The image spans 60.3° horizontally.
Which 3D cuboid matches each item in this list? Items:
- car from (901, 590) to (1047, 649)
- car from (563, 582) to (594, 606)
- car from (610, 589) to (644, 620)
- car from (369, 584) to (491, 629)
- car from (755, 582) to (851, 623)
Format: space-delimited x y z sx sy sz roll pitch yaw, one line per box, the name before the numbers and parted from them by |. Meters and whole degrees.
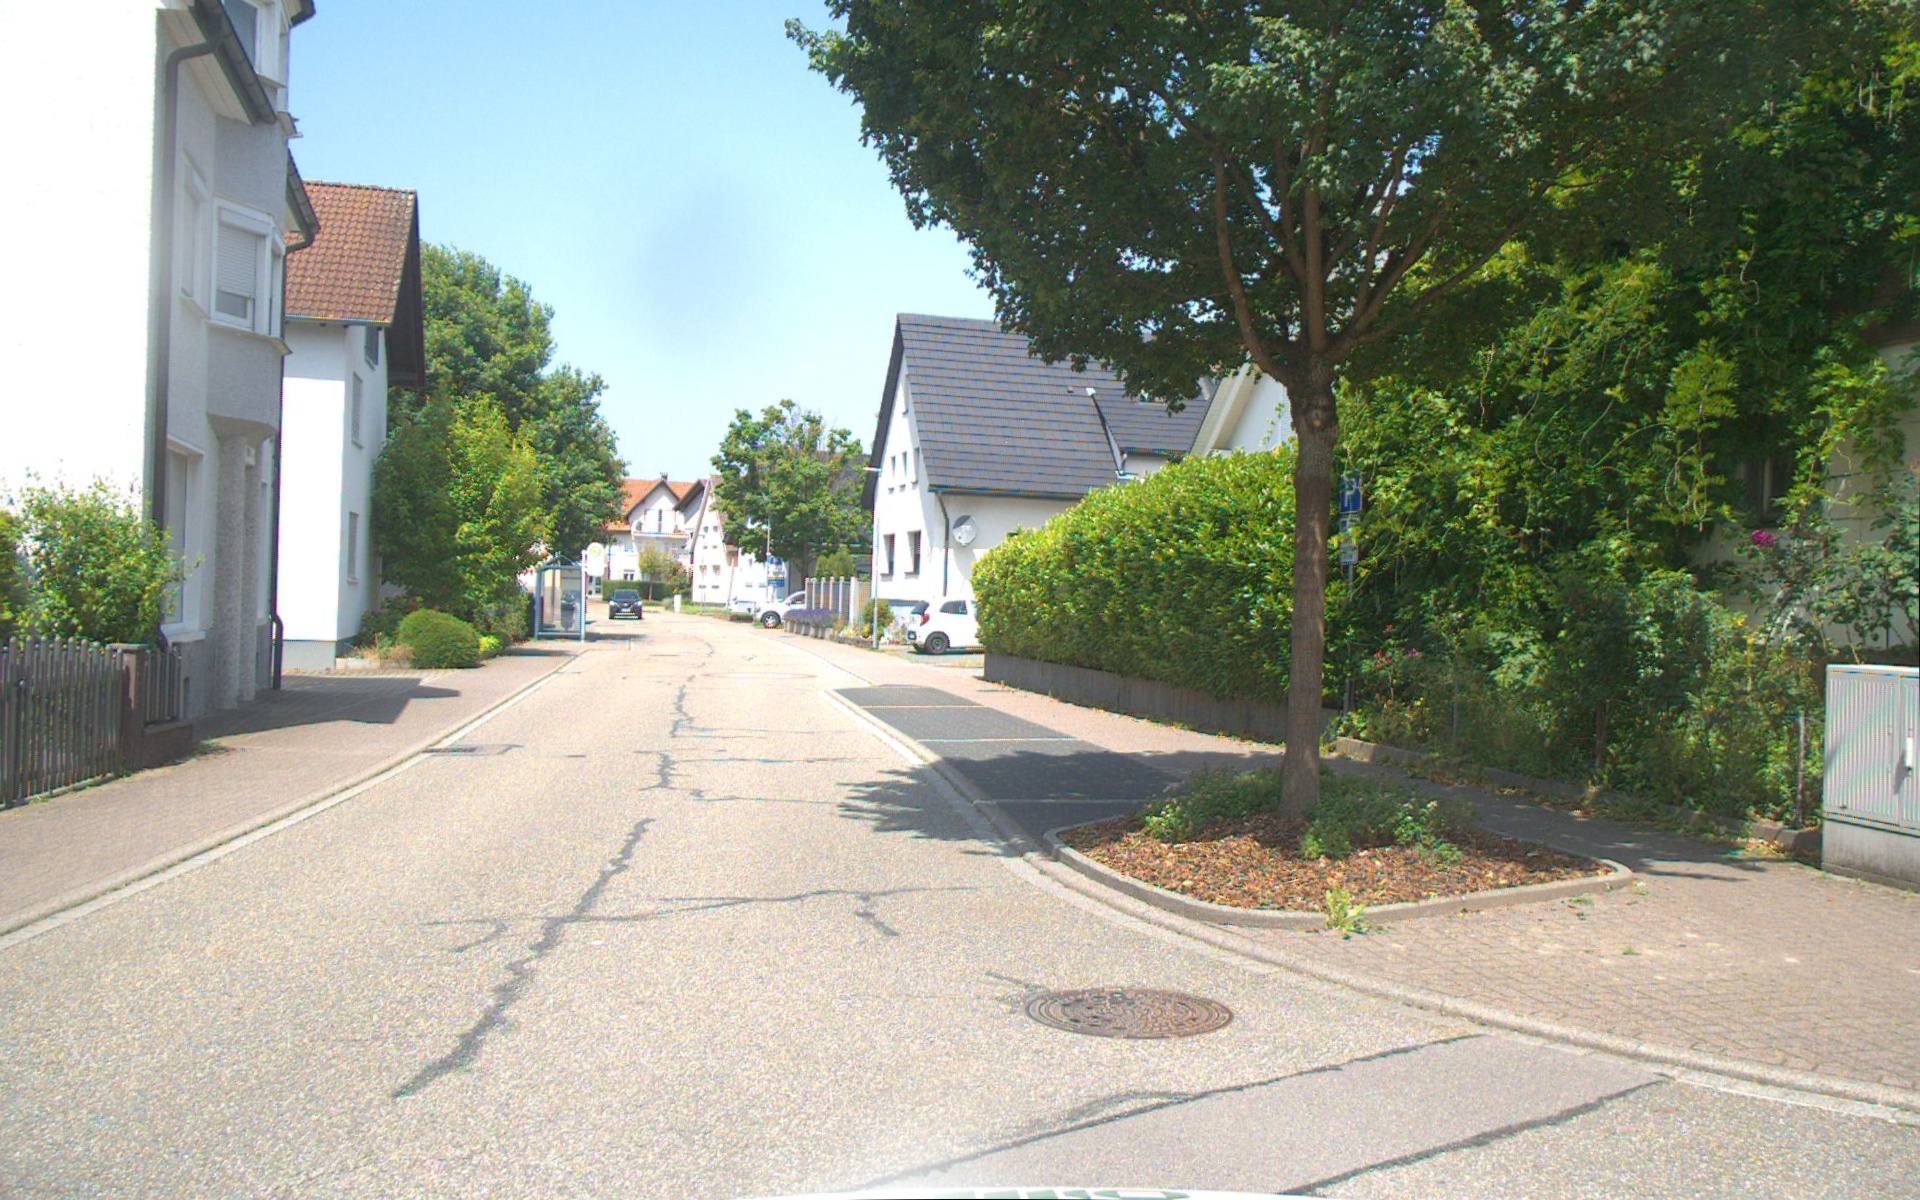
car | 0.366 0.492 44.389 3.599 1.500 1.757 0 1 -17
car | -25.231 -0.429 109.329 1.601 1.512 3.980 1 1 -18
car | -18.456 0.239 91.581 1.745 1.652 4.092 0 0 -12
car | -19.176 0.212 60.005 4.090 1.565 1.767 0 1 -15
car | -7.233 0.107 75.865 4.240 1.797 1.887 0 2 -12
